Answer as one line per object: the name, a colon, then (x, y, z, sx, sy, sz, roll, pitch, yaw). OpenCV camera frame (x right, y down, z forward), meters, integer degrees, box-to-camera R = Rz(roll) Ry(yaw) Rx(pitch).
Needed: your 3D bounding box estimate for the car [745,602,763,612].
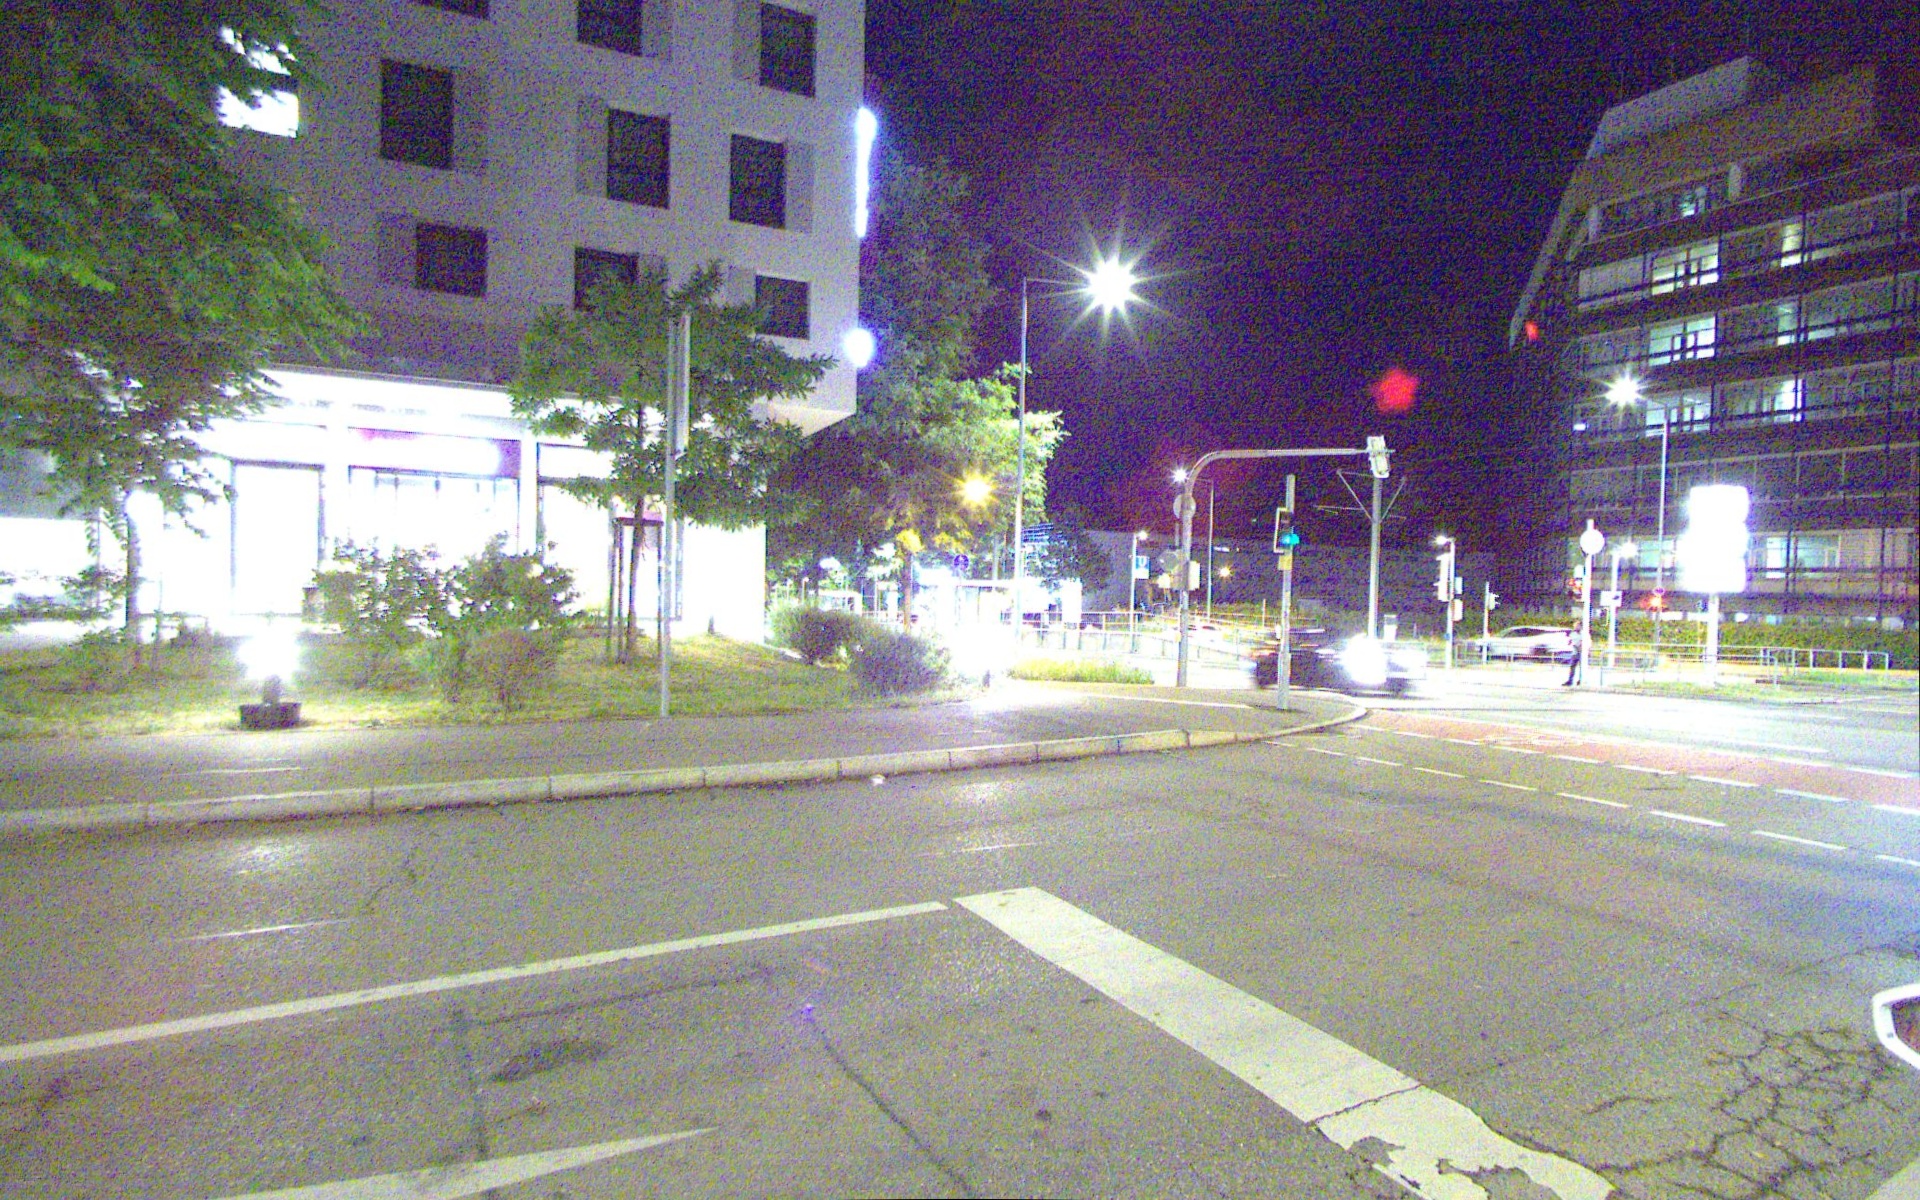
car: (-33.462, 1.125, 162.934, 1.845, 1.506, 3.822, 3, 0, -26)

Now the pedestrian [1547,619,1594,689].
pedestrian: (15.711, 1.384, 25.865, 0.693, 1.745, 0.678, 2, 0, -7)

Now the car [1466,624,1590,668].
car: (24.883, 1.995, 44.172, 1.916, 1.665, 4.382, 3, 0, -26)

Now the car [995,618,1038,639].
car: (4.533, 2.324, 81.514, 1.845, 1.506, 3.822, 3, 0, -26)

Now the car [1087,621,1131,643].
car: (11.874, 2.565, 80.407, 1.786, 1.653, 3.810, 1, -1, -23)

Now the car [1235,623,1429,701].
car: (8.053, 1.286, 22.070, 1.638, 1.493, 3.861, -2, 0, -28)

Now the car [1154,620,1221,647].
car: (14.600, 2.137, 64.813, 1.755, 1.506, 4.559, 1, 0, -26)

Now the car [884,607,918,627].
car: (-6.382, 1.822, 107.465, 1.845, 1.909, 4.926, 3, 0, -26)
